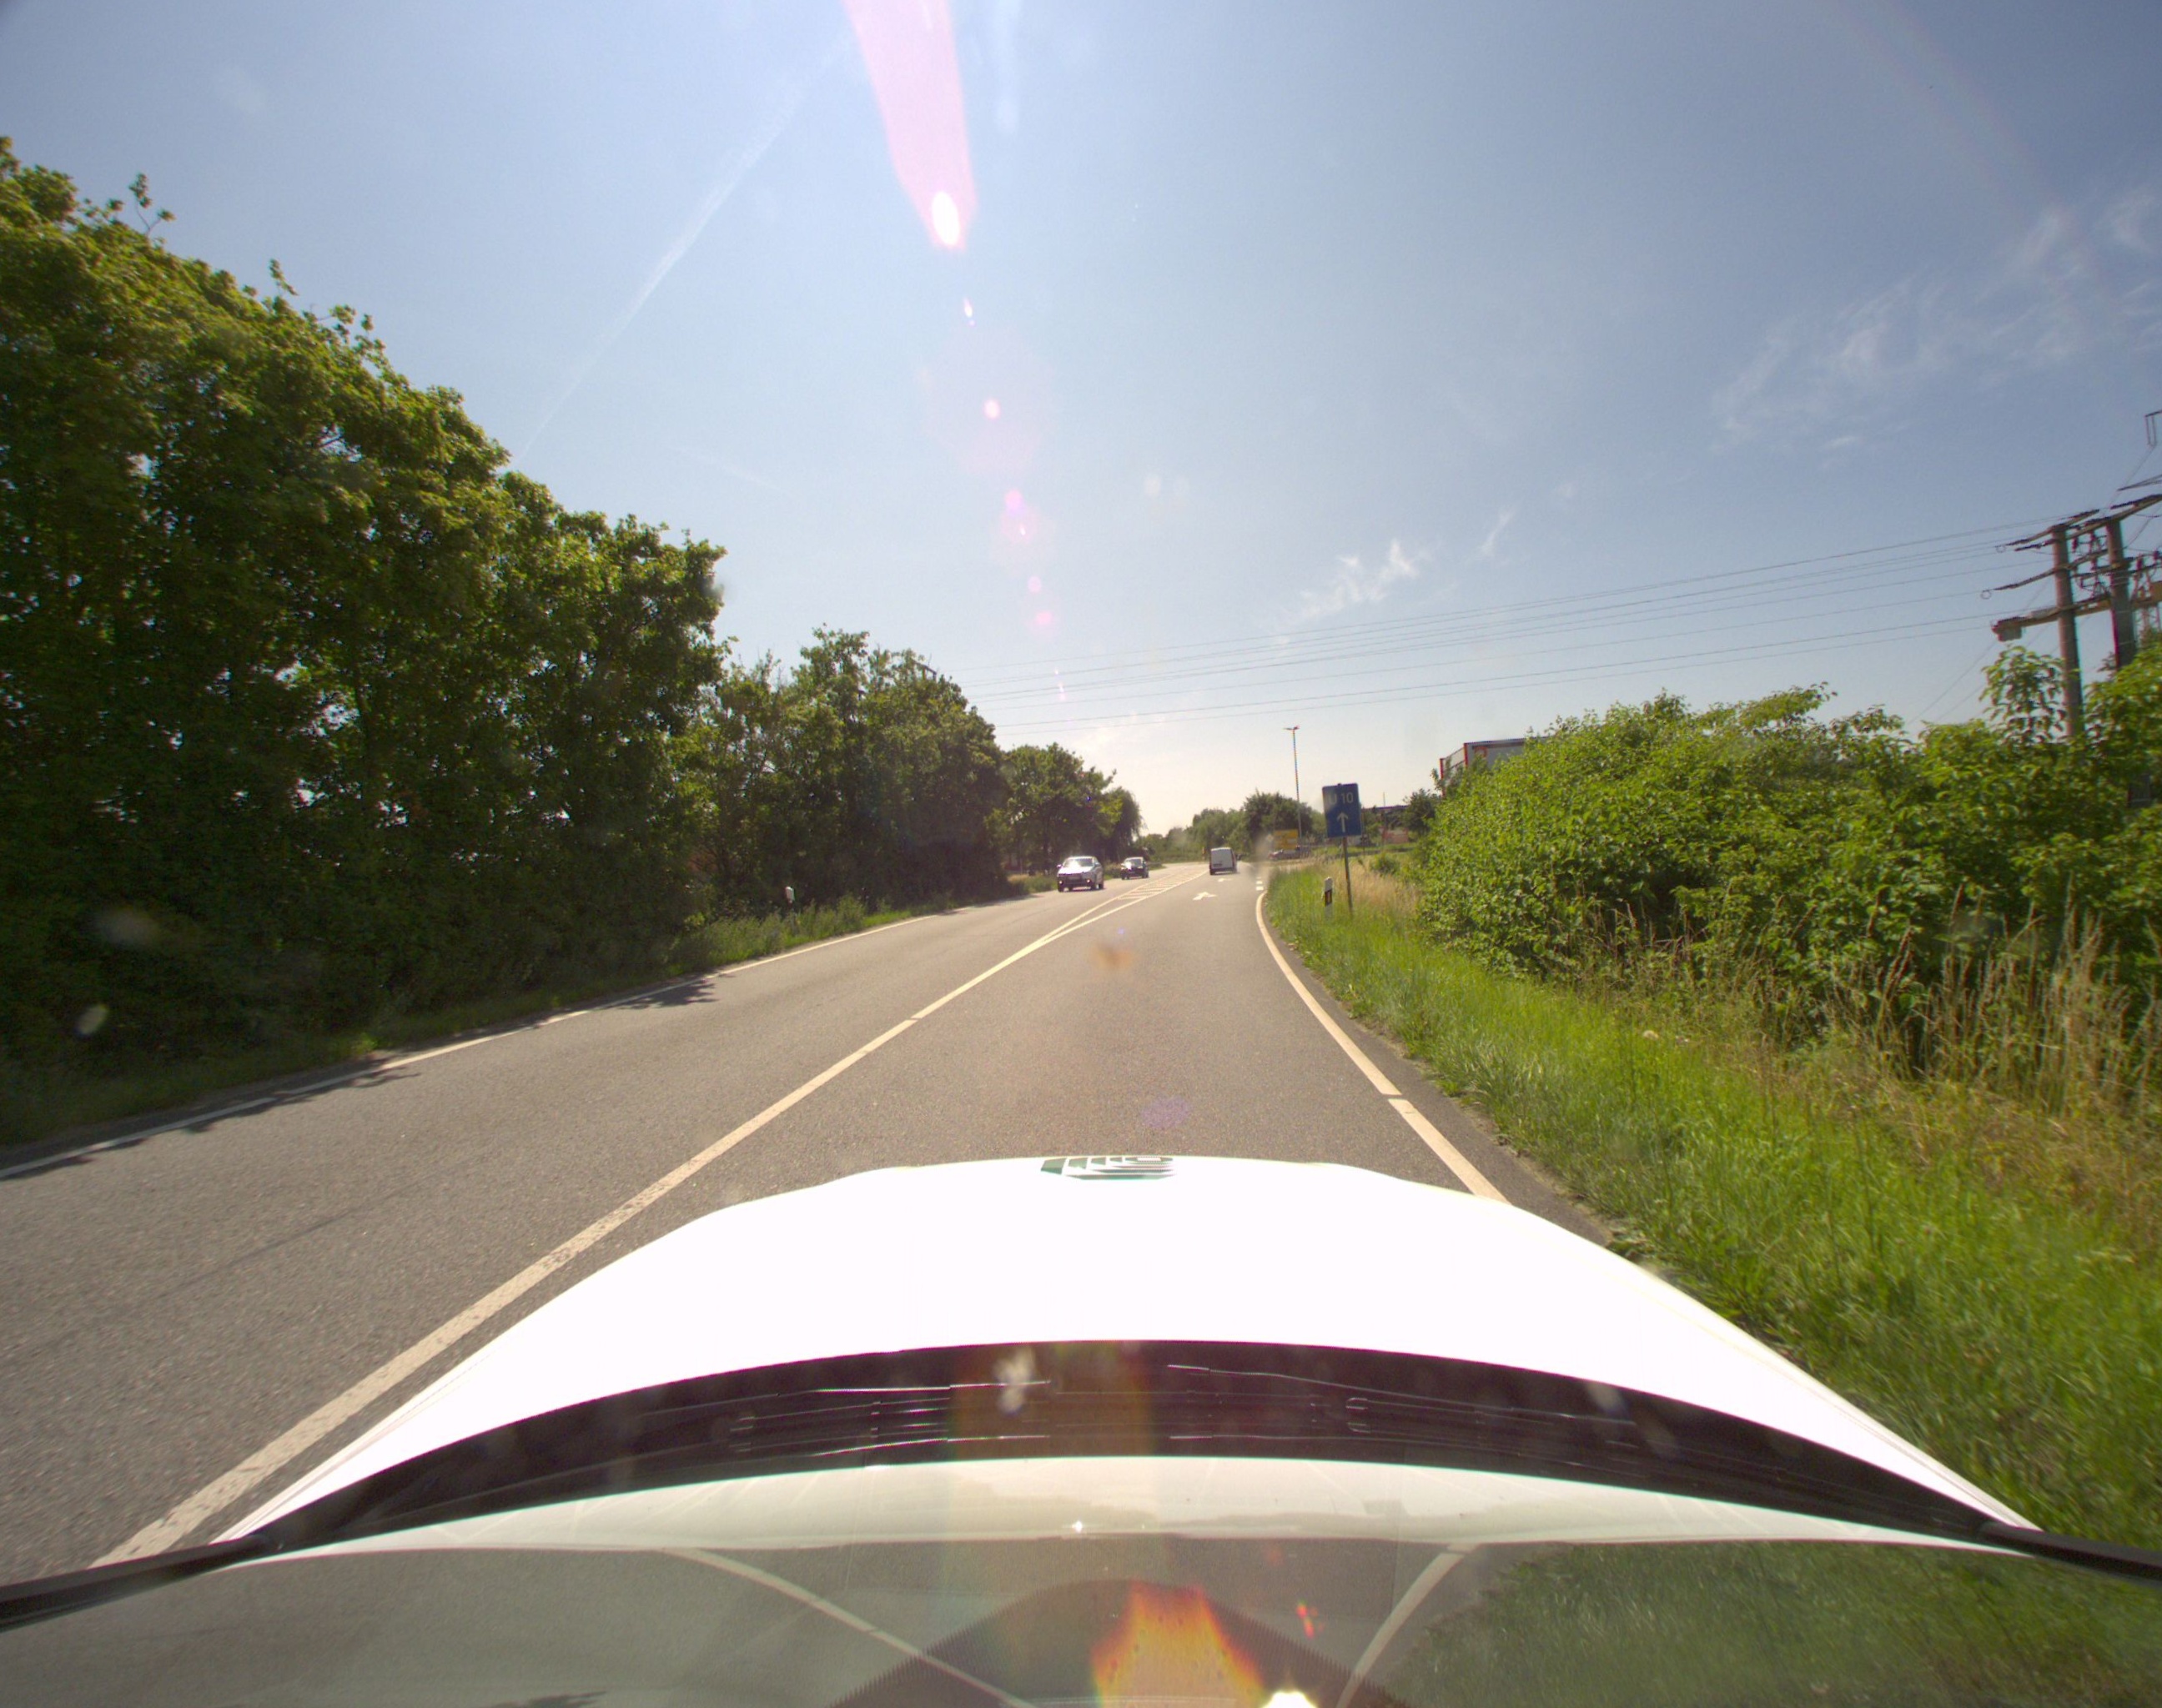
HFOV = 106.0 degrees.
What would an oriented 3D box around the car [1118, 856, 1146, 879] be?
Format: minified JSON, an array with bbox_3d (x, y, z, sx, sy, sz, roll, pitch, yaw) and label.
[{"bbox_3d":[3.857,1.005,60.992,1.722,1.590,3.966,-2,-1,8],"label":"car"}]

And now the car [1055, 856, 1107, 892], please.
[{"bbox_3d":[0.063,0.892,38.703,1.731,1.589,4.542,-1,0,9],"label":"car"}]

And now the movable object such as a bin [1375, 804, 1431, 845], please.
[{"bbox_3d":[44.891,-4.106,113.771,6.545,5.148,3.819,-2,-2,13],"label":"movable object such as a bin"}]

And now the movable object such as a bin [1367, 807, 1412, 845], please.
[{"bbox_3d":[46.415,-4.122,122.630,5.676,5.270,3.232,-2,-2,13],"label":"movable object such as a bin"}]

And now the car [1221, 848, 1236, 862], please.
[{"bbox_3d":[18.803,0.114,103.880,1.794,1.556,4.012,-4,1,10],"label":"car"}]

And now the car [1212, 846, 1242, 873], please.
[{"bbox_3d":[9.964,0.387,55.785,1.892,1.732,3.831,-3,-1,9],"label":"car"}]

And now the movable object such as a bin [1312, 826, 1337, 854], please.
[{"bbox_3d":[30.877,-1.761,103.336,2.308,3.250,5.115,-2,-2,10],"label":"movable object such as a bin"}]

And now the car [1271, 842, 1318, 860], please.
[{"bbox_3d":[21.992,-0.347,84.084,4.483,1.508,1.920,-5,-1,11],"label":"car"}]
